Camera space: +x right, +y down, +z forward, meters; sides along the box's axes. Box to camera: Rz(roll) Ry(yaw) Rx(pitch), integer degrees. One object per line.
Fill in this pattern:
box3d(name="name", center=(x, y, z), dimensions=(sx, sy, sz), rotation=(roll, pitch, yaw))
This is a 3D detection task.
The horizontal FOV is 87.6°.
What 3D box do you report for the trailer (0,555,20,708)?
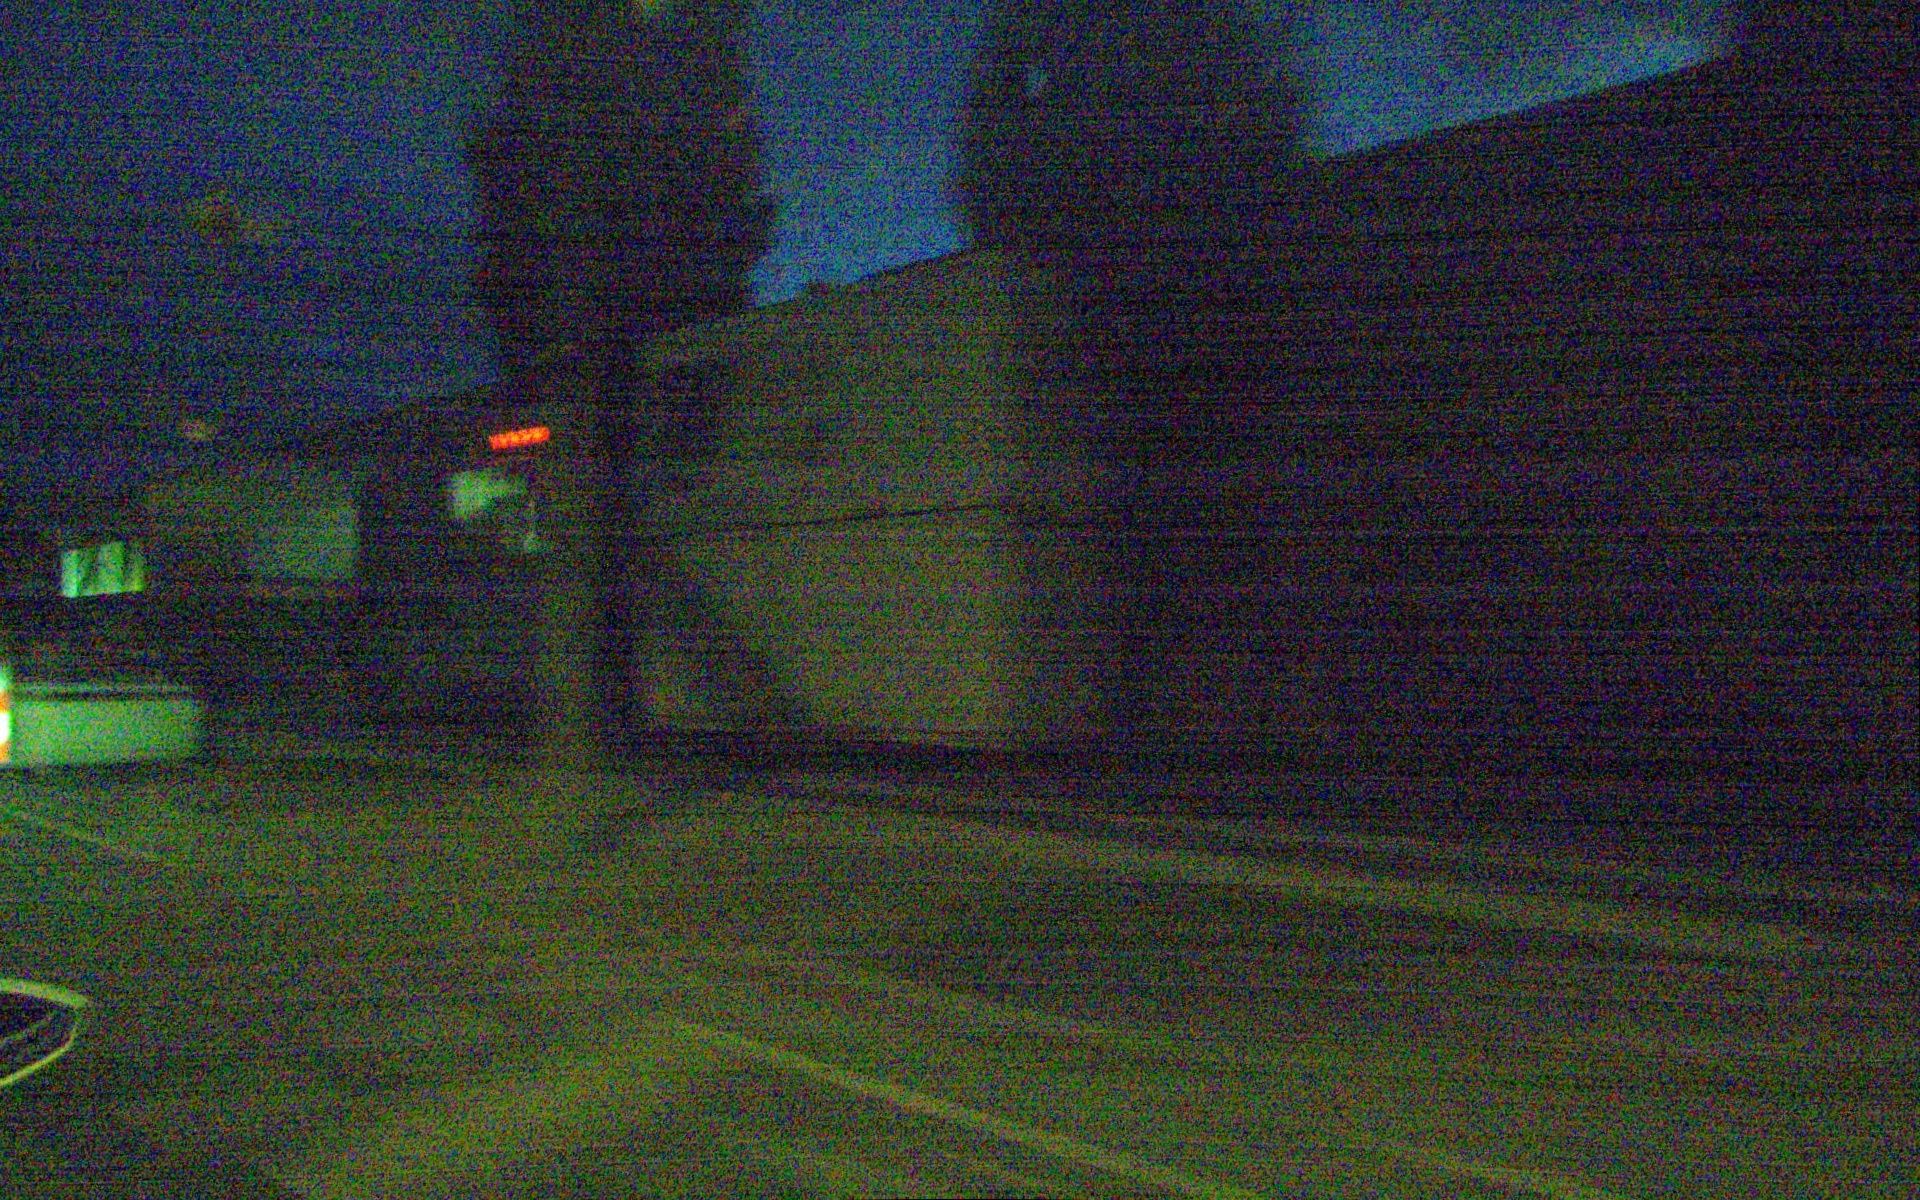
box3d(name="trailer", center=(-20.666, 0.542, 19.127), dimensions=(4.639, 2.880, 2.613), rotation=(-1, -4, 30))
